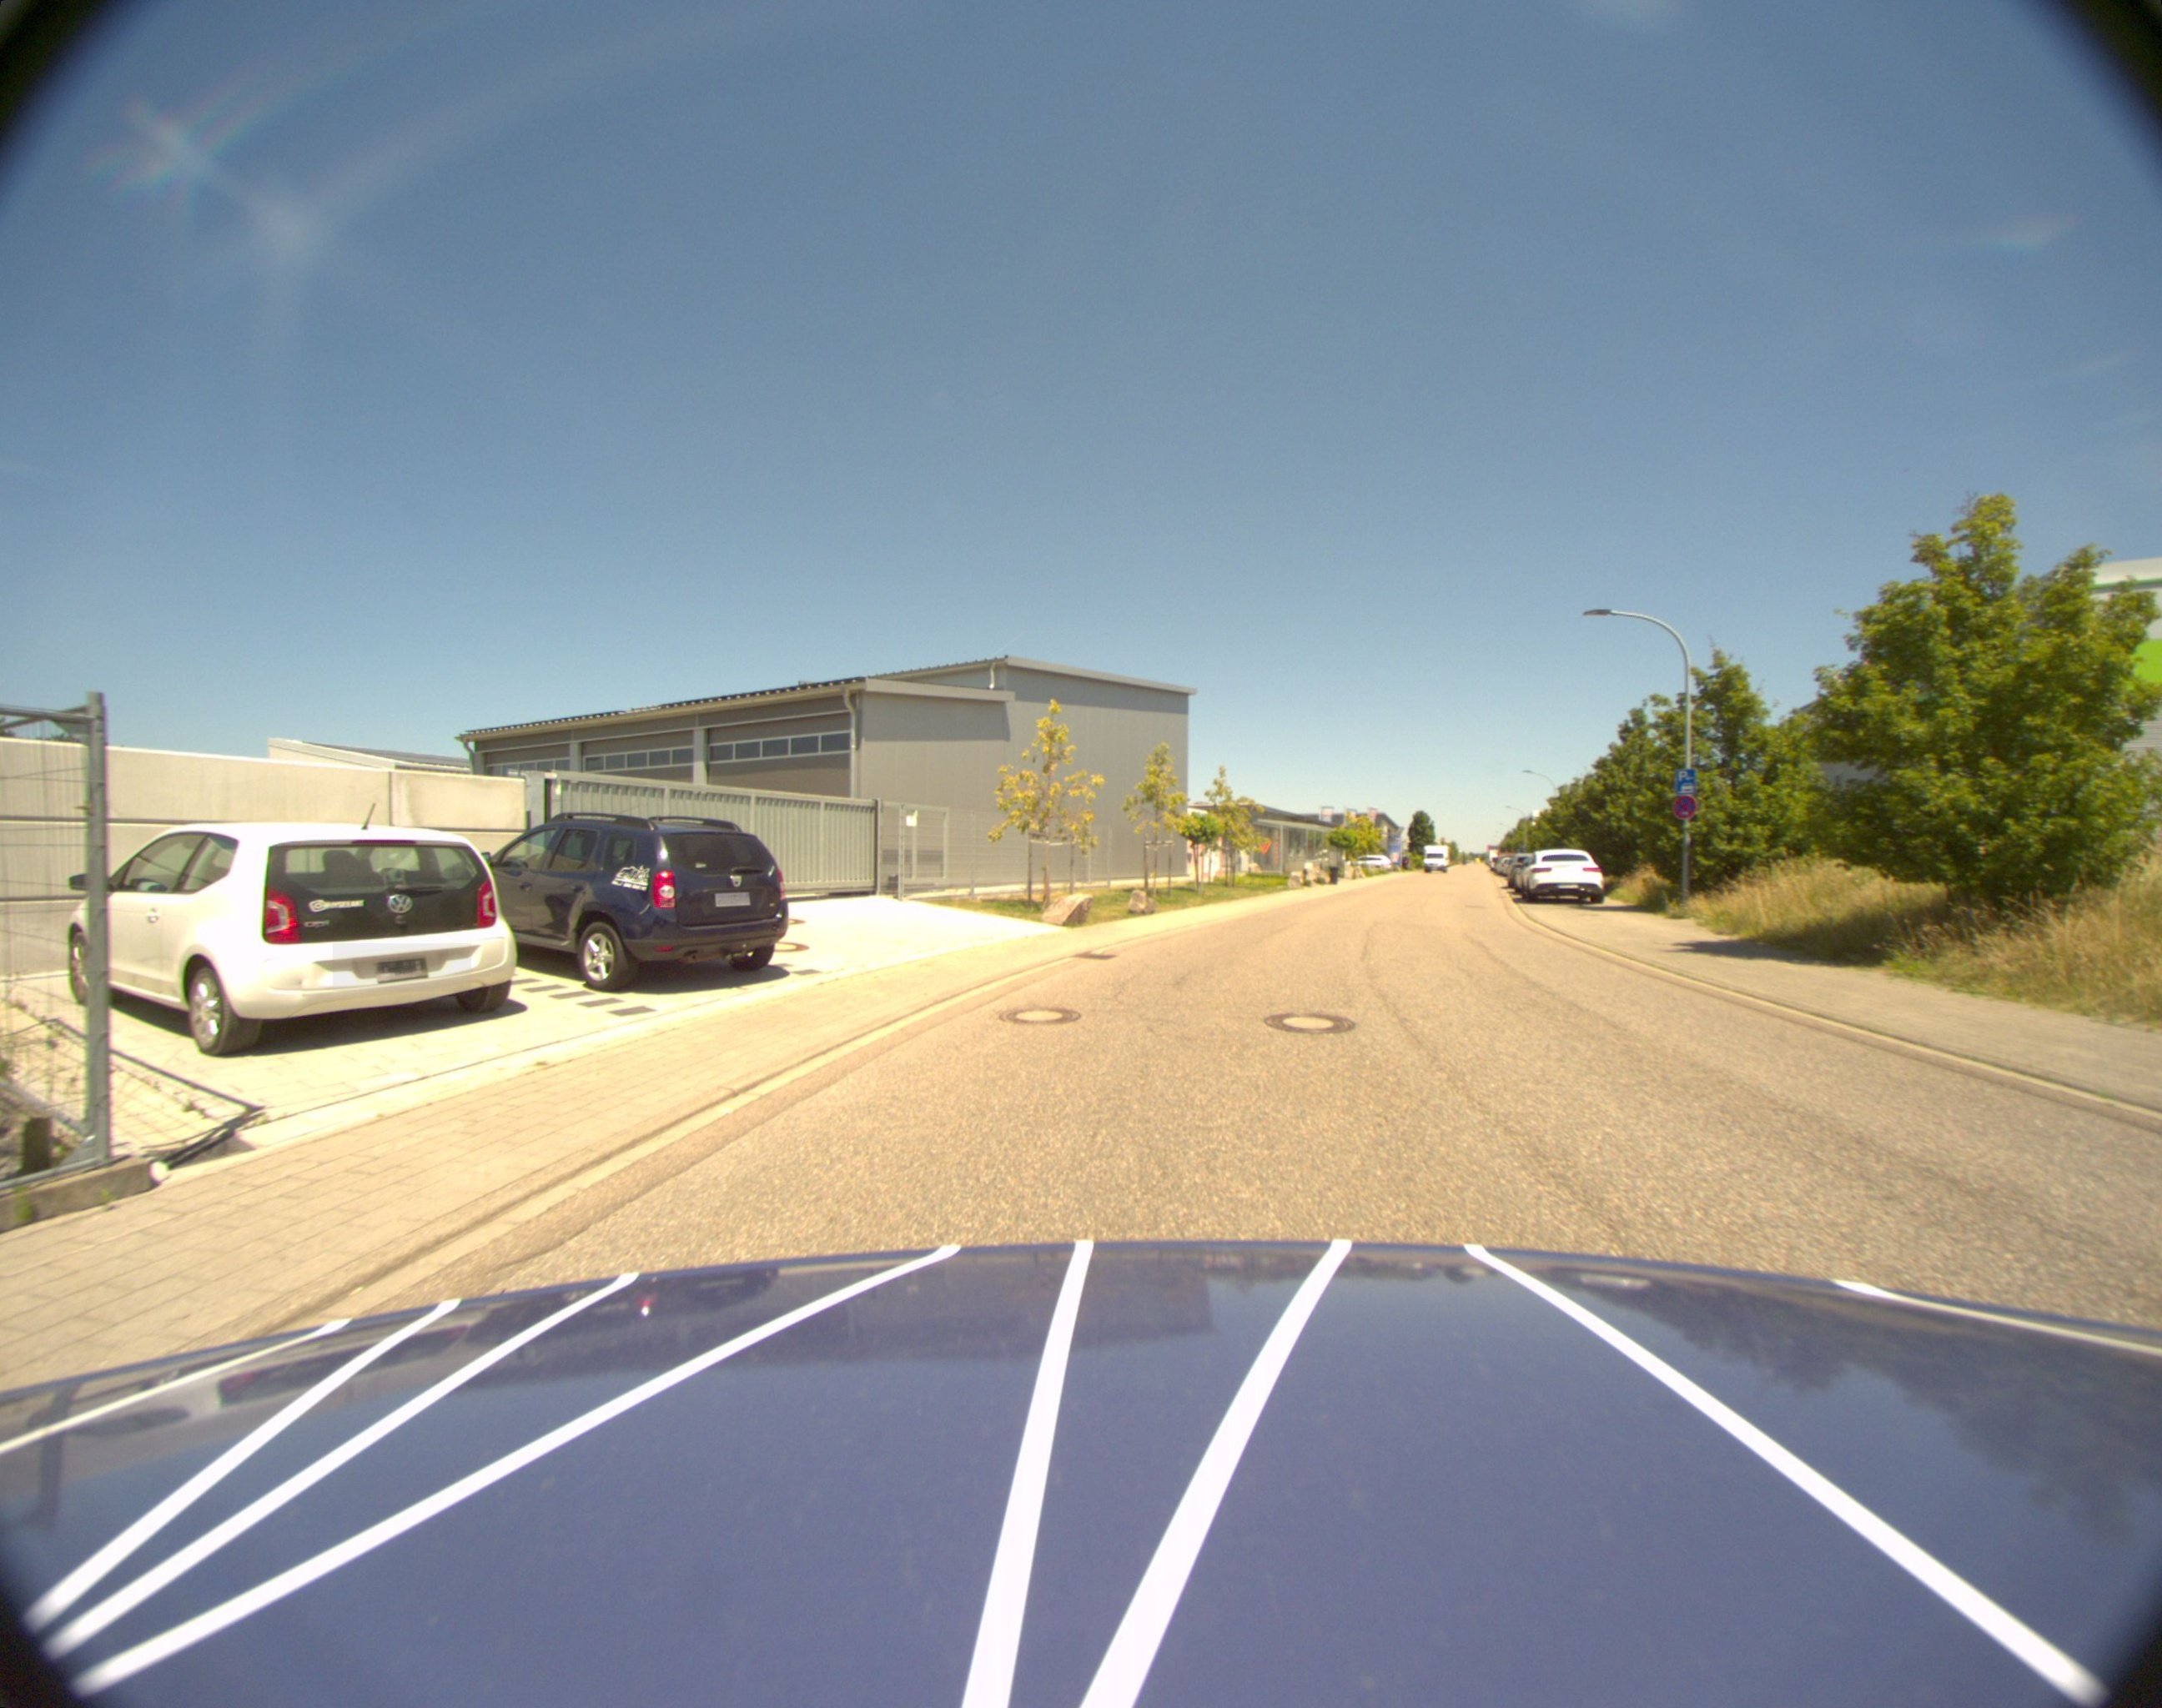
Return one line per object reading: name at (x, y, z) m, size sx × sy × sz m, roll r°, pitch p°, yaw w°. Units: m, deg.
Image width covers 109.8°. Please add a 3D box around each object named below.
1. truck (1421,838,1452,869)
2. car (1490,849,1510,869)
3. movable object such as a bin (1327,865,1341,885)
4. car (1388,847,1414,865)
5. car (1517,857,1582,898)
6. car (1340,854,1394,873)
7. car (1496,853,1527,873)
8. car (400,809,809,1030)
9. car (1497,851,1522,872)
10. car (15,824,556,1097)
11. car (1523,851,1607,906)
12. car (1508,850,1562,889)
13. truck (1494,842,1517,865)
truck at (37.552, -0.062, 80.108) m, size 2.458 × 3.187 × 6.895 m, roll 0°, pitch 0°, yaw 29°
car at (58.081, 0.715, 105.317) m, size 2.324 × 2.583 × 6.097 m, roll -1°, pitch -1°, yaw 29°
movable object such as a bin at (12.736, 1.047, 38.219) m, size 0.559 × 0.941 × 0.540 m, roll 2°, pitch 1°, yaw 26°
car at (36.768, 0.251, 87.194) m, size 1.994 × 2.002 × 5.347 m, roll 0°, pitch 0°, yaw 30°
car at (18.462, 0.868, 30.127) m, size 1.913 × 1.483 × 4.421 m, roll 0°, pitch 0°, yaw 28°
car at (25.058, 0.788, 66.622) m, size 4.282 × 1.532 × 1.916 m, roll 1°, pitch 1°, yaw 25°
car at (35.119, 0.738, 62.076) m, size 1.853 × 1.510 × 4.914 m, roll -1°, pitch -1°, yaw 25°
car at (-5.124, 0.503, 8.121) m, size 4.011 × 1.646 × 1.861 m, roll 5°, pitch 2°, yaw 27°
car at (37.913, 0.675, 67.318) m, size 1.853 × 1.748 × 4.996 m, roll -1°, pitch -1°, yaw 29°
car at (-6.399, 0.576, 6.086) m, size 4.011 × 1.453 × 1.896 m, roll 3°, pitch 1°, yaw 27°
car at (15.788, 0.720, 25.001) m, size 1.913 × 1.646 × 4.763 m, roll 0°, pitch 0°, yaw 27°
car at (21.392, 0.710, 35.939) m, size 1.914 × 1.703 × 4.421 m, roll -1°, pitch -1°, yaw 27°
truck at (43.010, -0.018, 77.071) m, size 1.853 × 2.209 × 4.655 m, roll -1°, pitch -1°, yaw 27°
